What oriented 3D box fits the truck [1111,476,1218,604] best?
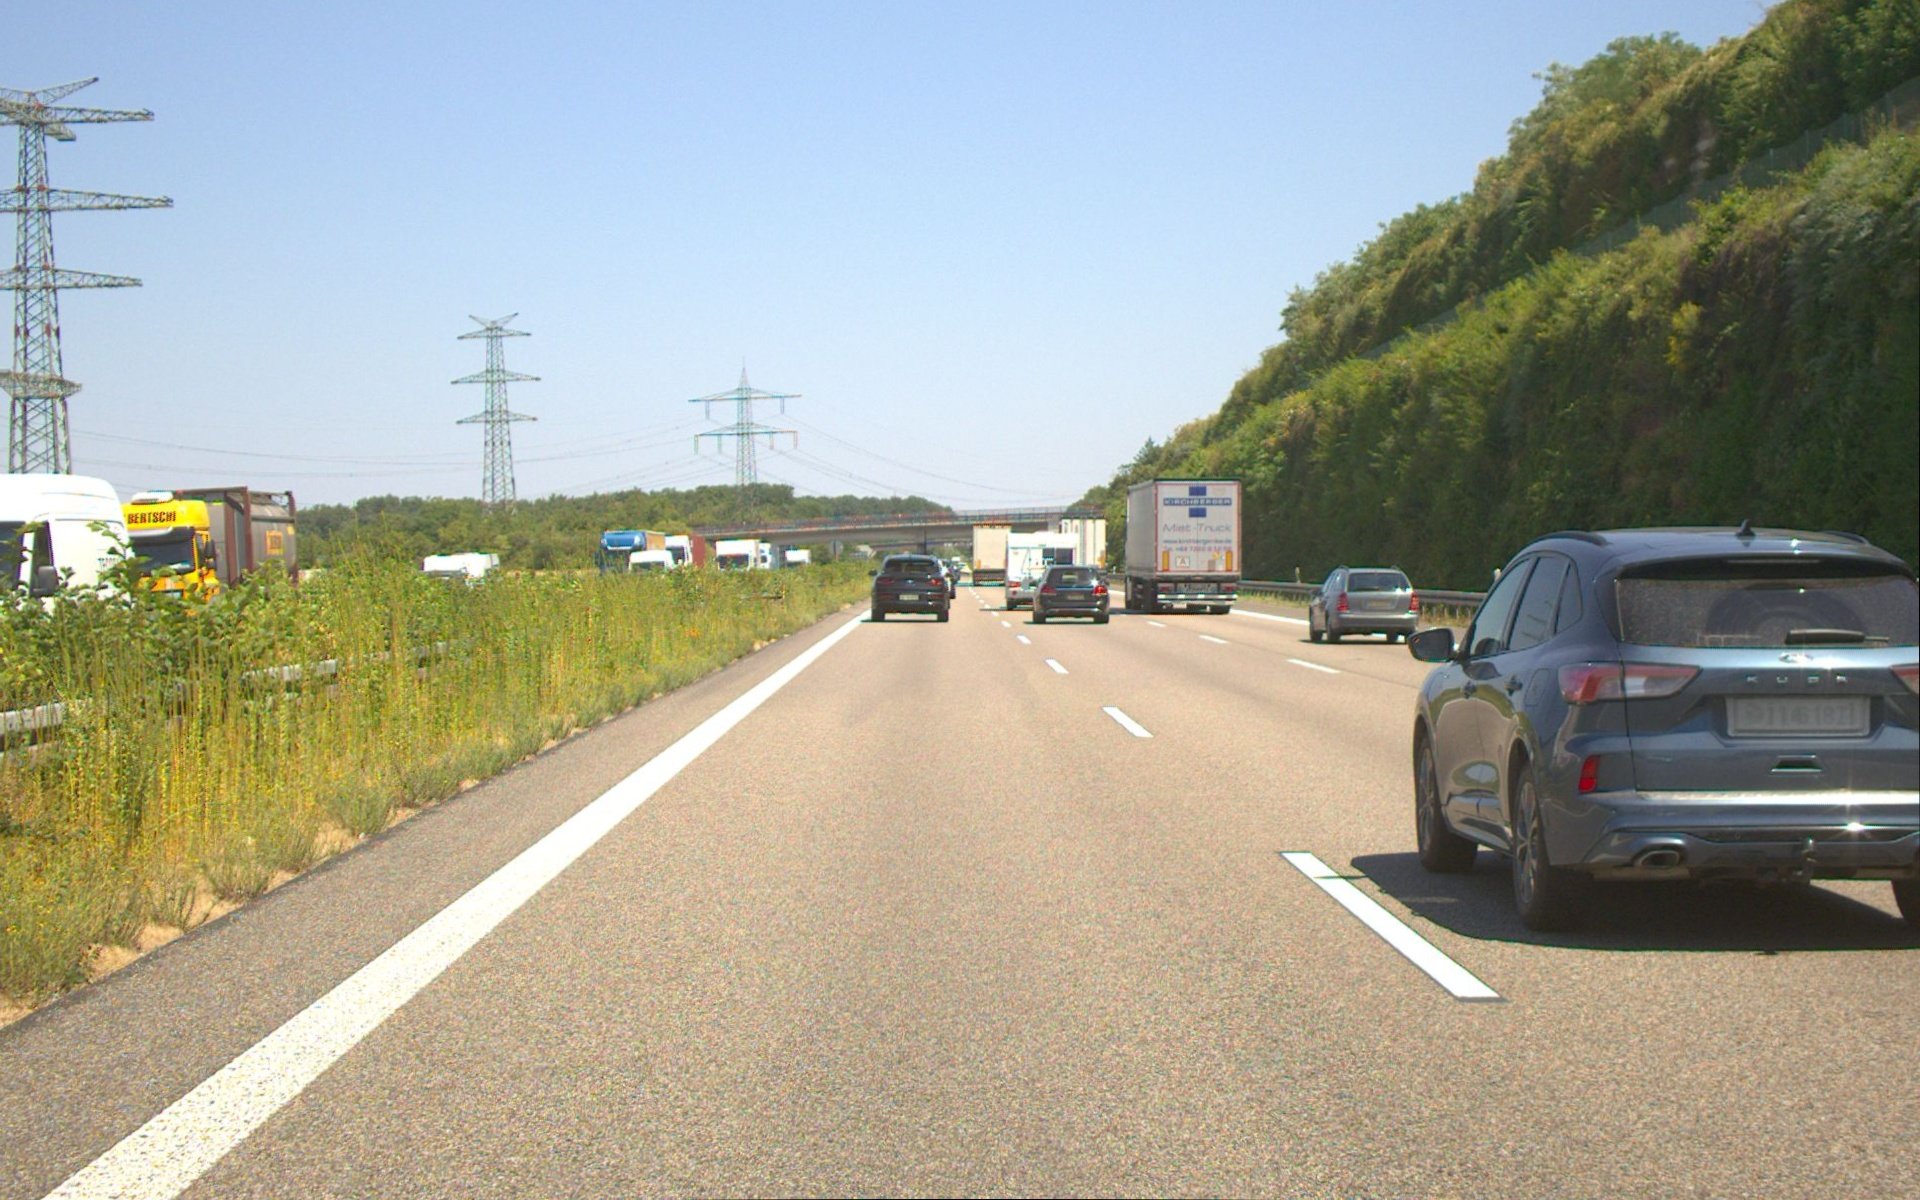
[{"bbox_3d":[6.778,-1.986,114.641,3.136,4.127,5.504,-1,1,0],"label":"truck"}]

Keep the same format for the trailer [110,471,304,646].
[{"bbox_3d":[-18.558,-1.031,85.323,2.736,4.032,9.424,-1,1,-1],"label":"trailer"}]

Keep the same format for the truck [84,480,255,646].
[{"bbox_3d":[-18.515,-0.880,80.834,2.725,3.715,5.646,-1,1,-1],"label":"truck"}]

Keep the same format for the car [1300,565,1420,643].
[{"bbox_3d":[7.571,0.043,65.446,1.684,1.423,4.454,0,1,-1],"label":"car"}]

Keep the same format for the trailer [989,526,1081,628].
[{"bbox_3d":[2.446,-0.800,114.513,2.610,3.202,9.953,-1,1,-1],"label":"trailer"}]

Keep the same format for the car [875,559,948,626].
[{"bbox_3d":[-1.257,-0.209,89.409,1.830,1.665,4.000,-1,1,-1],"label":"car"}]

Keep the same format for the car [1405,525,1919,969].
[{"bbox_3d":[3.110,0.520,14.867,1.794,1.647,4.138,0,1,-1],"label":"car"}]

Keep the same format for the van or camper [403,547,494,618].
[{"bbox_3d":[-19.048,-0.673,128.211,2.443,2.509,6.484,-1,1,-1],"label":"van or camper"}]

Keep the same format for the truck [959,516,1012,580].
[{"bbox_3d":[1.733,-3.562,237.351,3.409,4.265,10.607,-1,1,0],"label":"truck"}]

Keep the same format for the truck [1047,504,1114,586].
[{"bbox_3d":[6.504,-2.961,187.013,3.119,4.265,11.934,-1,1,0],"label":"truck"}]

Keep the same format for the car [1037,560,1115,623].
[{"bbox_3d":[2.909,-0.231,87.094,1.830,1.520,4.000,-1,1,0],"label":"car"}]

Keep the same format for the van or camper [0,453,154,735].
[{"bbox_3d":[-9.751,-0.094,34.519,1.993,2.573,6.286,0,1,-1],"label":"van or camper"}]

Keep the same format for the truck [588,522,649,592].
[{"bbox_3d":[-19.403,-2.457,195.811,2.863,3.894,5.621,-1,1,0],"label":"truck"}]

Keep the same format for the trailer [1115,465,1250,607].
[{"bbox_3d":[6.845,-1.956,107.623,3.183,4.107,13.432,-1,1,0],"label":"trailer"}]

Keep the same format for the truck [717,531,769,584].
[{"bbox_3d":[-14.518,-2.876,230.521,2.936,3.401,9.367,-2,1,-1],"label":"truck"}]
